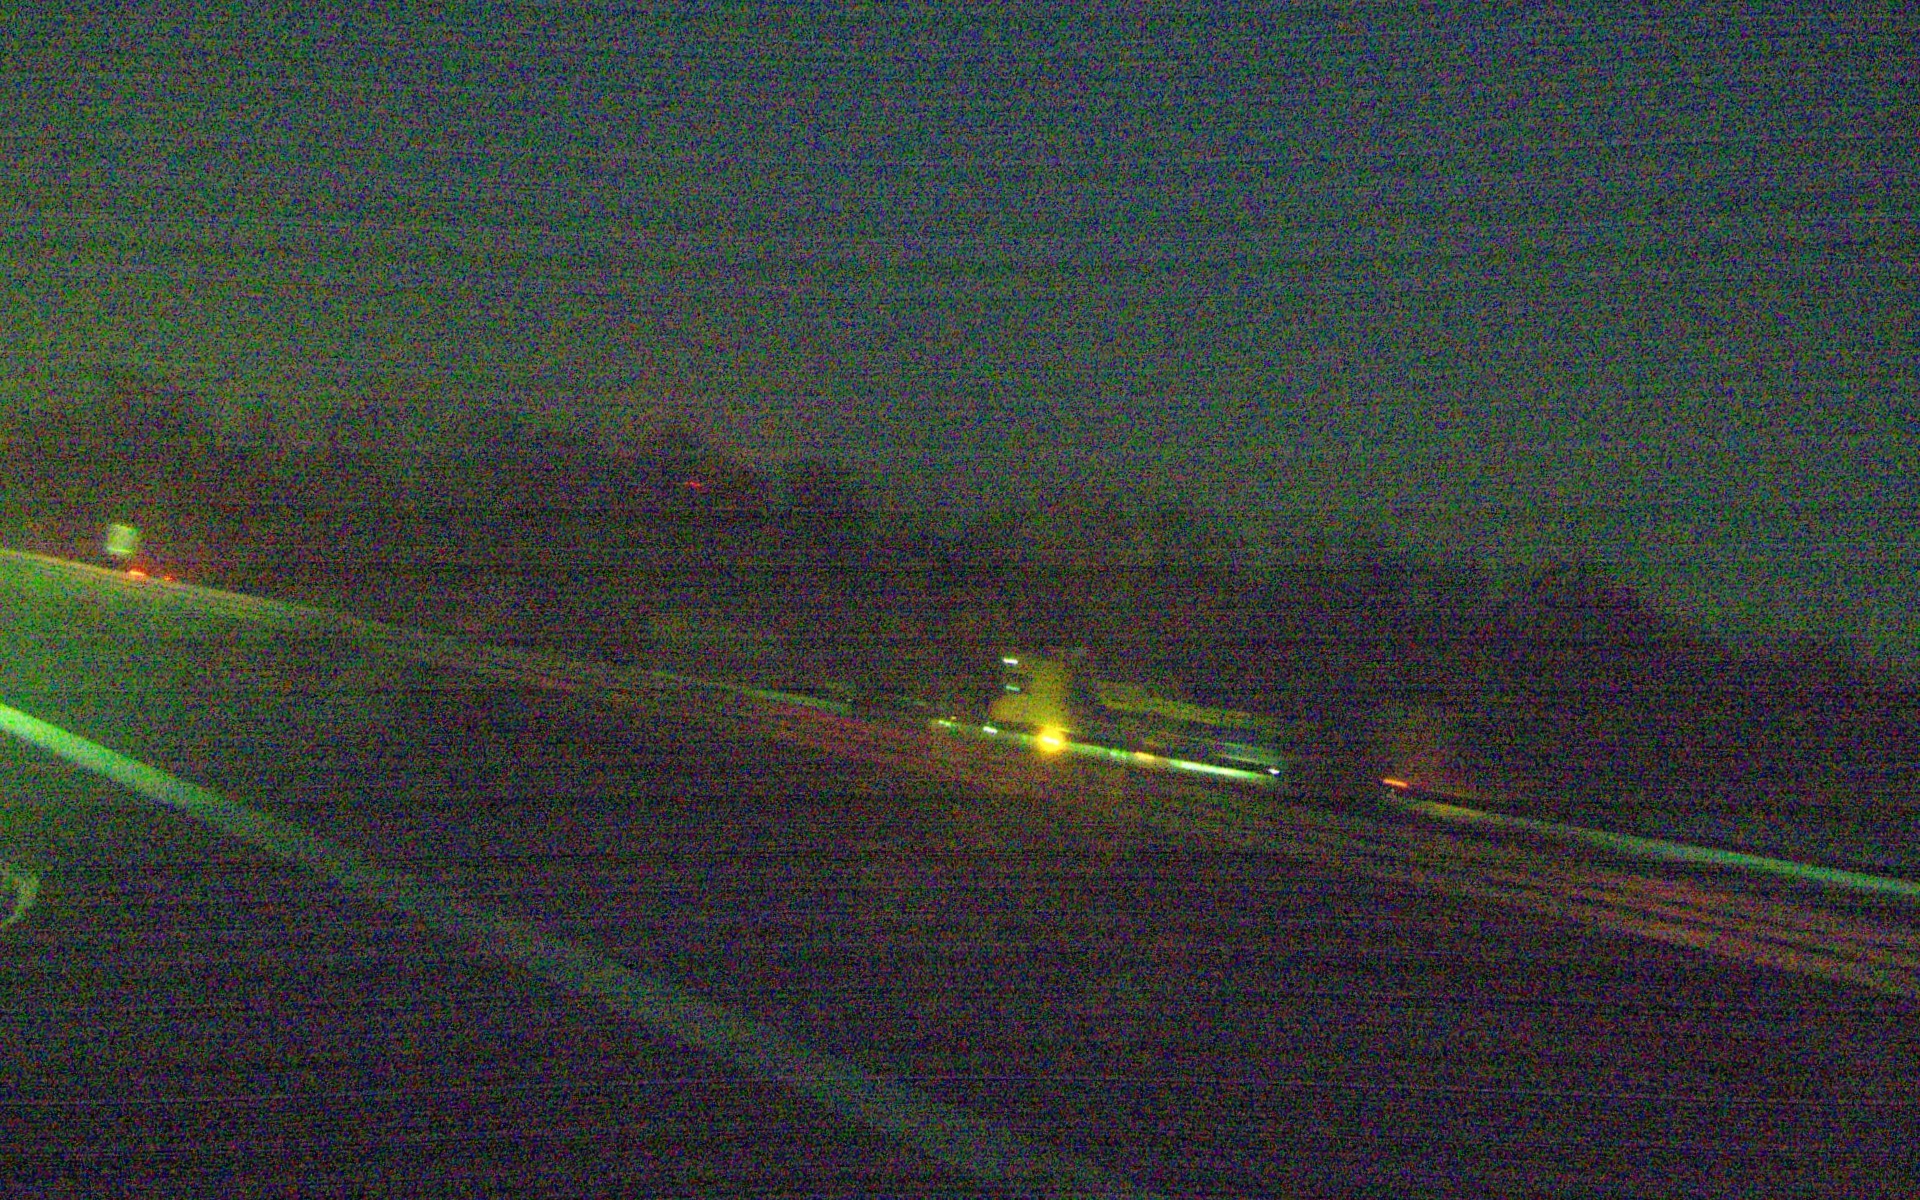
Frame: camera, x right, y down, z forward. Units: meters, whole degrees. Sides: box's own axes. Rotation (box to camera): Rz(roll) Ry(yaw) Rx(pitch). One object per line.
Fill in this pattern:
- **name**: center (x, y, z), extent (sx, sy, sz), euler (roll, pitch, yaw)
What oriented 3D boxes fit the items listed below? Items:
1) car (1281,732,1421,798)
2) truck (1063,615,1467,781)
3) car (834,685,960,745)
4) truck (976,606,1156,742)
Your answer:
- **car**: center (12.728, 5.356, 32.963), extent (3.915, 1.309, 1.715), euler (9, -2, 11)
- **truck**: center (10.822, 3.495, 37.030), extent (13.562, 4.271, 2.771), euler (6, -2, 7)
- **car**: center (-2.158, 3.943, 34.819), extent (3.915, 1.309, 1.715), euler (9, -2, 10)
- **truck**: center (3.975, 2.745, 37.871), extent (6.076, 4.271, 2.771), euler (6, -2, 7)
